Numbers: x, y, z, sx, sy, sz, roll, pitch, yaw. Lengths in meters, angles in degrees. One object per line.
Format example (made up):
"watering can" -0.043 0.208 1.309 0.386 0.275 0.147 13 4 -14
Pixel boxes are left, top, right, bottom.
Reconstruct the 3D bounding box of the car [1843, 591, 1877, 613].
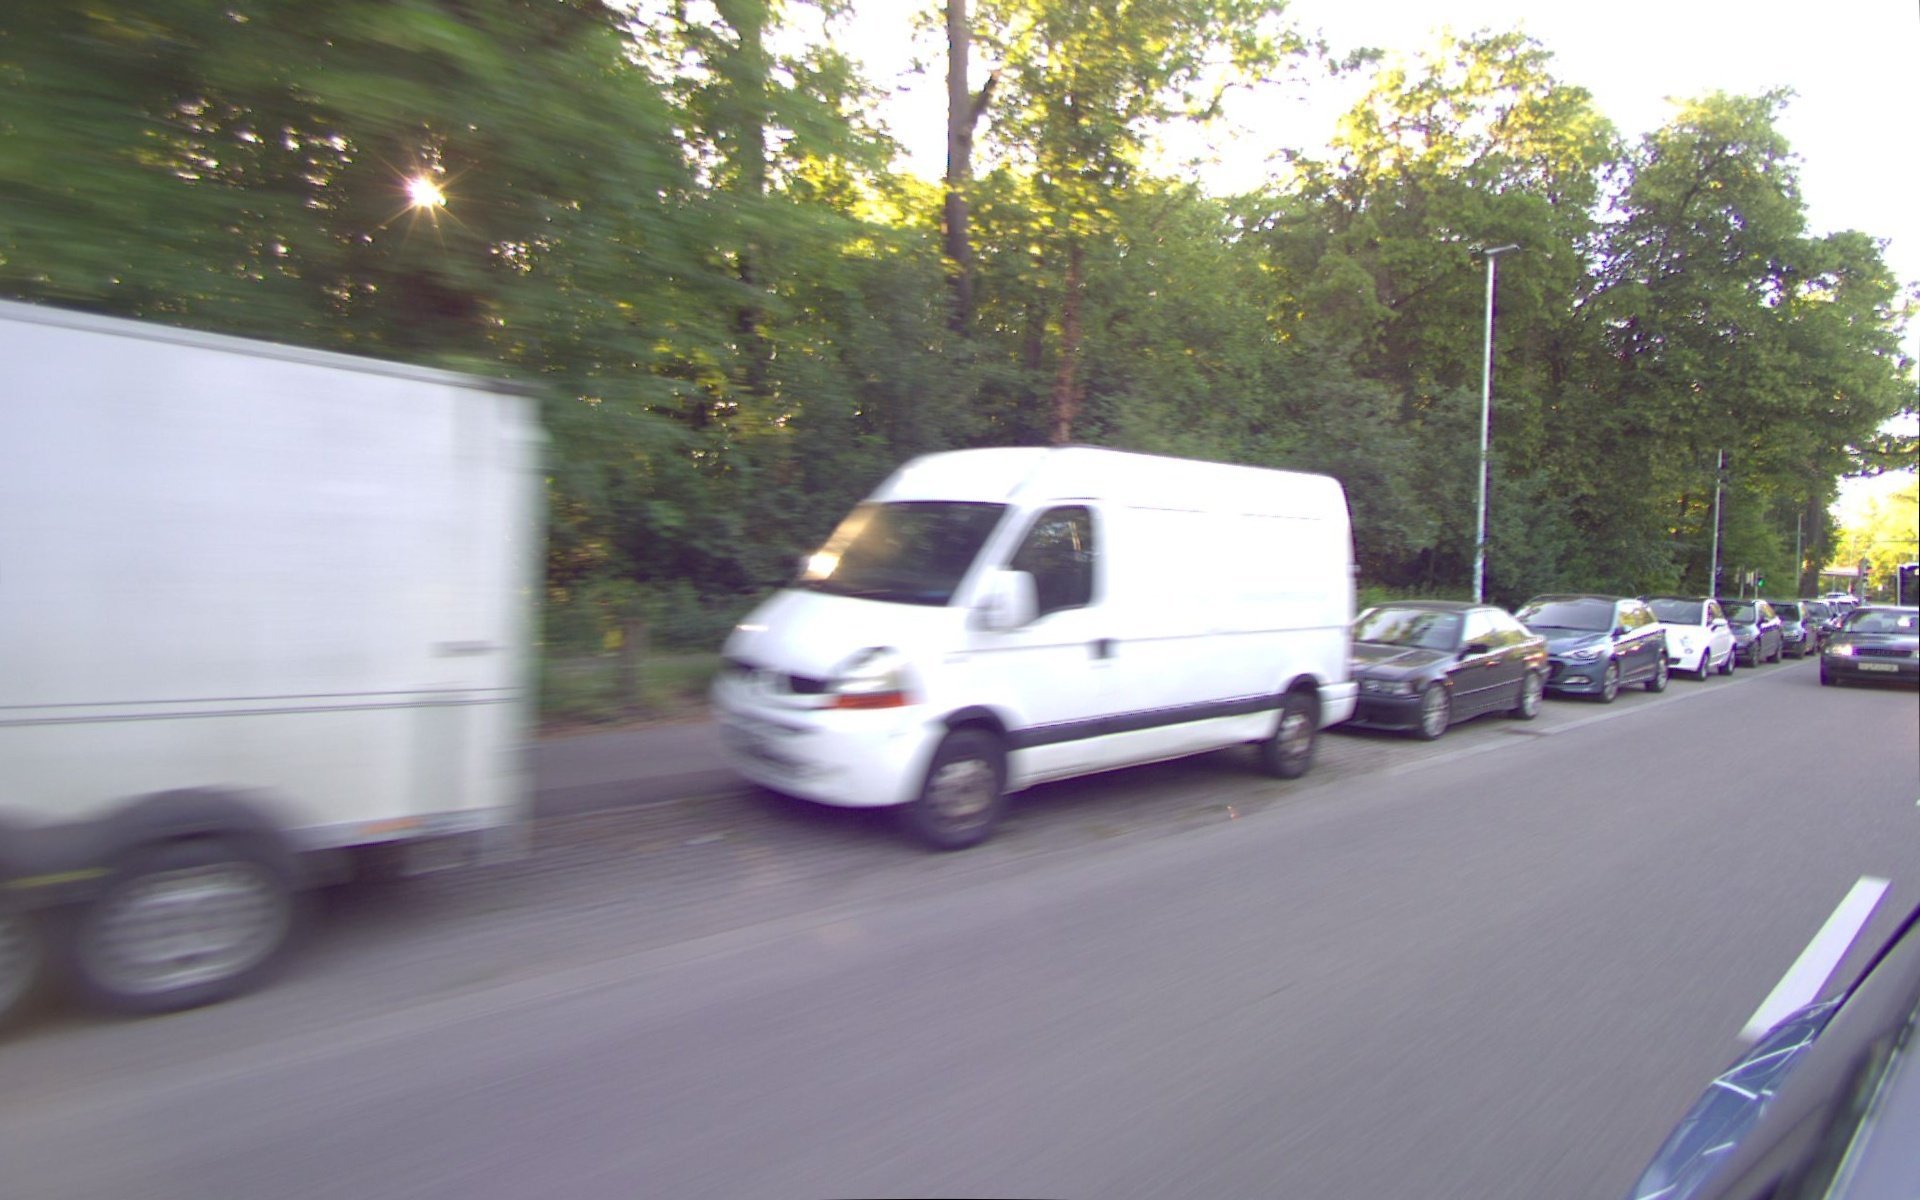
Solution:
"car" 67.449 0.127 75.890 1.715 1.487 3.819 3 3 39

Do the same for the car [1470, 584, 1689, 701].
"car" 9.390 0.530 15.228 3.996 1.482 1.681 -1 3 -41

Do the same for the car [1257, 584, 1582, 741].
"car" 5.443 0.555 11.683 4.570 1.418 1.681 -1 3 -41

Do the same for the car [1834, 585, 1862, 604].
"car" 91.309 -0.576 104.104 1.810 1.945 5.196 0 1 38

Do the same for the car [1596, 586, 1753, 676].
"car" 13.690 0.507 19.320 3.626 1.482 1.680 -1 3 -42

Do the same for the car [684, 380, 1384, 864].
"car" 0.906 0.050 7.634 5.478 2.453 1.908 -1 3 -40

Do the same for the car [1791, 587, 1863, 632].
"car" 32.309 0.304 37.665 1.719 1.487 4.135 3 3 45

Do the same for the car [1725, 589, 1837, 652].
"car" 21.556 0.472 26.517 4.413 1.429 1.720 -1 3 -44

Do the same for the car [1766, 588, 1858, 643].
"car" 25.348 0.405 30.058 1.719 1.429 4.415 3 3 45

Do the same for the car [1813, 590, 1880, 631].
"car" 36.175 0.366 41.265 1.719 1.487 4.908 3 3 45

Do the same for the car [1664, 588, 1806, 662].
"car" 17.773 0.490 23.126 4.823 1.429 1.721 -1 3 -42

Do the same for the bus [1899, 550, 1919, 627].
"bus" 43.444 -0.480 44.405 2.806 3.086 12.677 1 1 45

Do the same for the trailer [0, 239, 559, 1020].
"trailer" -4.230 0.071 3.388 5.036 2.453 1.908 -1 3 -40

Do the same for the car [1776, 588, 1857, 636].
"car" 28.522 0.351 33.680 1.719 1.429 4.058 3 3 45

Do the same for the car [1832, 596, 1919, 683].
"car" 16.790 0.640 17.882 3.927 1.376 1.676 -1 1 -43

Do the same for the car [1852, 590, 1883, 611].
"car" 71.531 -0.012 79.760 1.762 1.487 5.039 3 3 42
